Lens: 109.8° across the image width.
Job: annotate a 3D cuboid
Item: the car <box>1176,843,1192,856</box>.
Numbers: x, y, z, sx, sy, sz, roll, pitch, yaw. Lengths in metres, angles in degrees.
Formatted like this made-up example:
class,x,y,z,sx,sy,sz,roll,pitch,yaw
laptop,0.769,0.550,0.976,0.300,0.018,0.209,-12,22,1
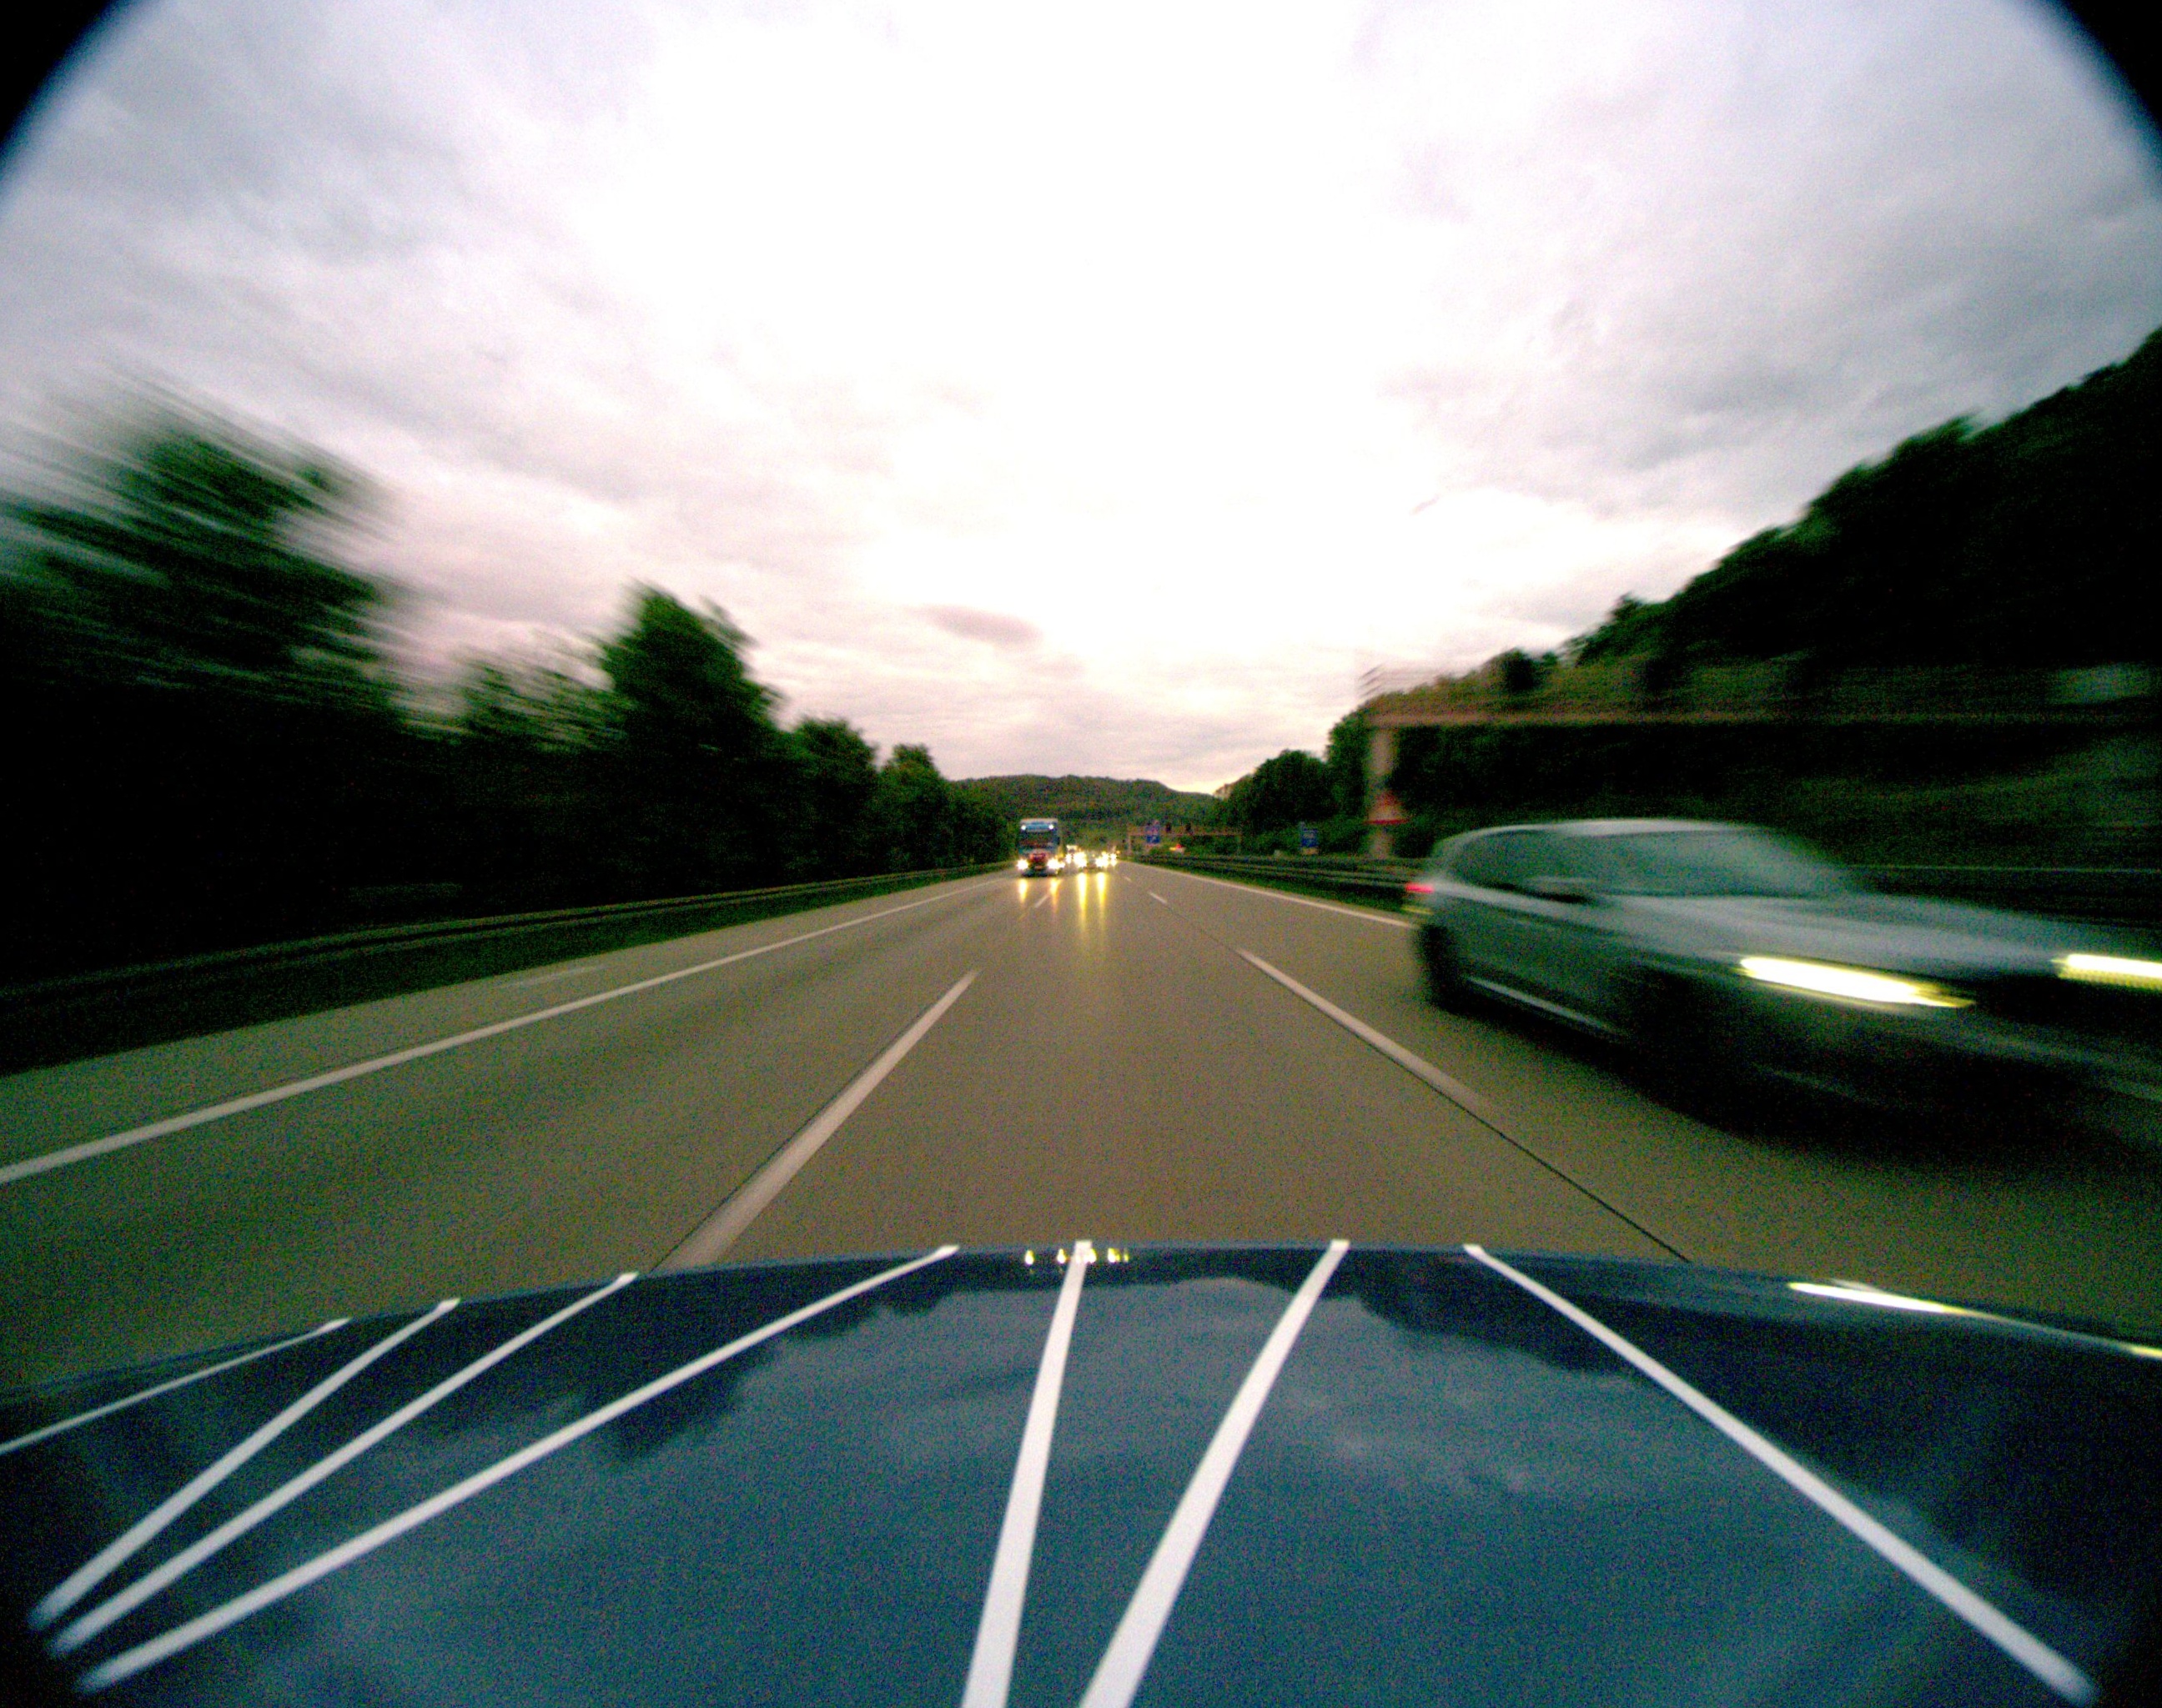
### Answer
class,x,y,z,sx,sy,sz,roll,pitch,yaw
car,19.693,-0.901,145.372,2.143,2.345,6.719,-1,0,1

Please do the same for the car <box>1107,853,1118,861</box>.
class,x,y,z,sx,sy,sz,roll,pitch,yaw
car,6.071,0.531,147.277,1.898,1.503,4.000,-1,0,0

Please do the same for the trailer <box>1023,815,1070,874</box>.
class,x,y,z,sx,sy,sz,roll,pitch,yaw
trailer,-2.551,-0.728,60.592,2.778,4.062,13.738,-2,0,1

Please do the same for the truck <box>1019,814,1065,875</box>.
class,x,y,z,sx,sy,sz,roll,pitch,yaw
truck,-2.641,-0.635,53.624,2.743,3.973,5.849,-2,1,1

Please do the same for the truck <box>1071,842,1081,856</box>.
class,x,y,z,sx,sy,sz,roll,pitch,yaw
truck,-1.266,-1.408,208.894,2.623,3.805,10.385,-1,1,0

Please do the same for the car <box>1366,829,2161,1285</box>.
class,x,y,z,sx,sy,sz,roll,pitch,yaw
car,4.088,0.718,5.598,1.894,1.650,5.639,-1,0,1

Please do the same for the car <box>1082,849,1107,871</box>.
class,x,y,z,sx,sy,sz,roll,pitch,yaw
car,1.093,0.436,59.312,1.927,1.674,4.807,0,1,2
